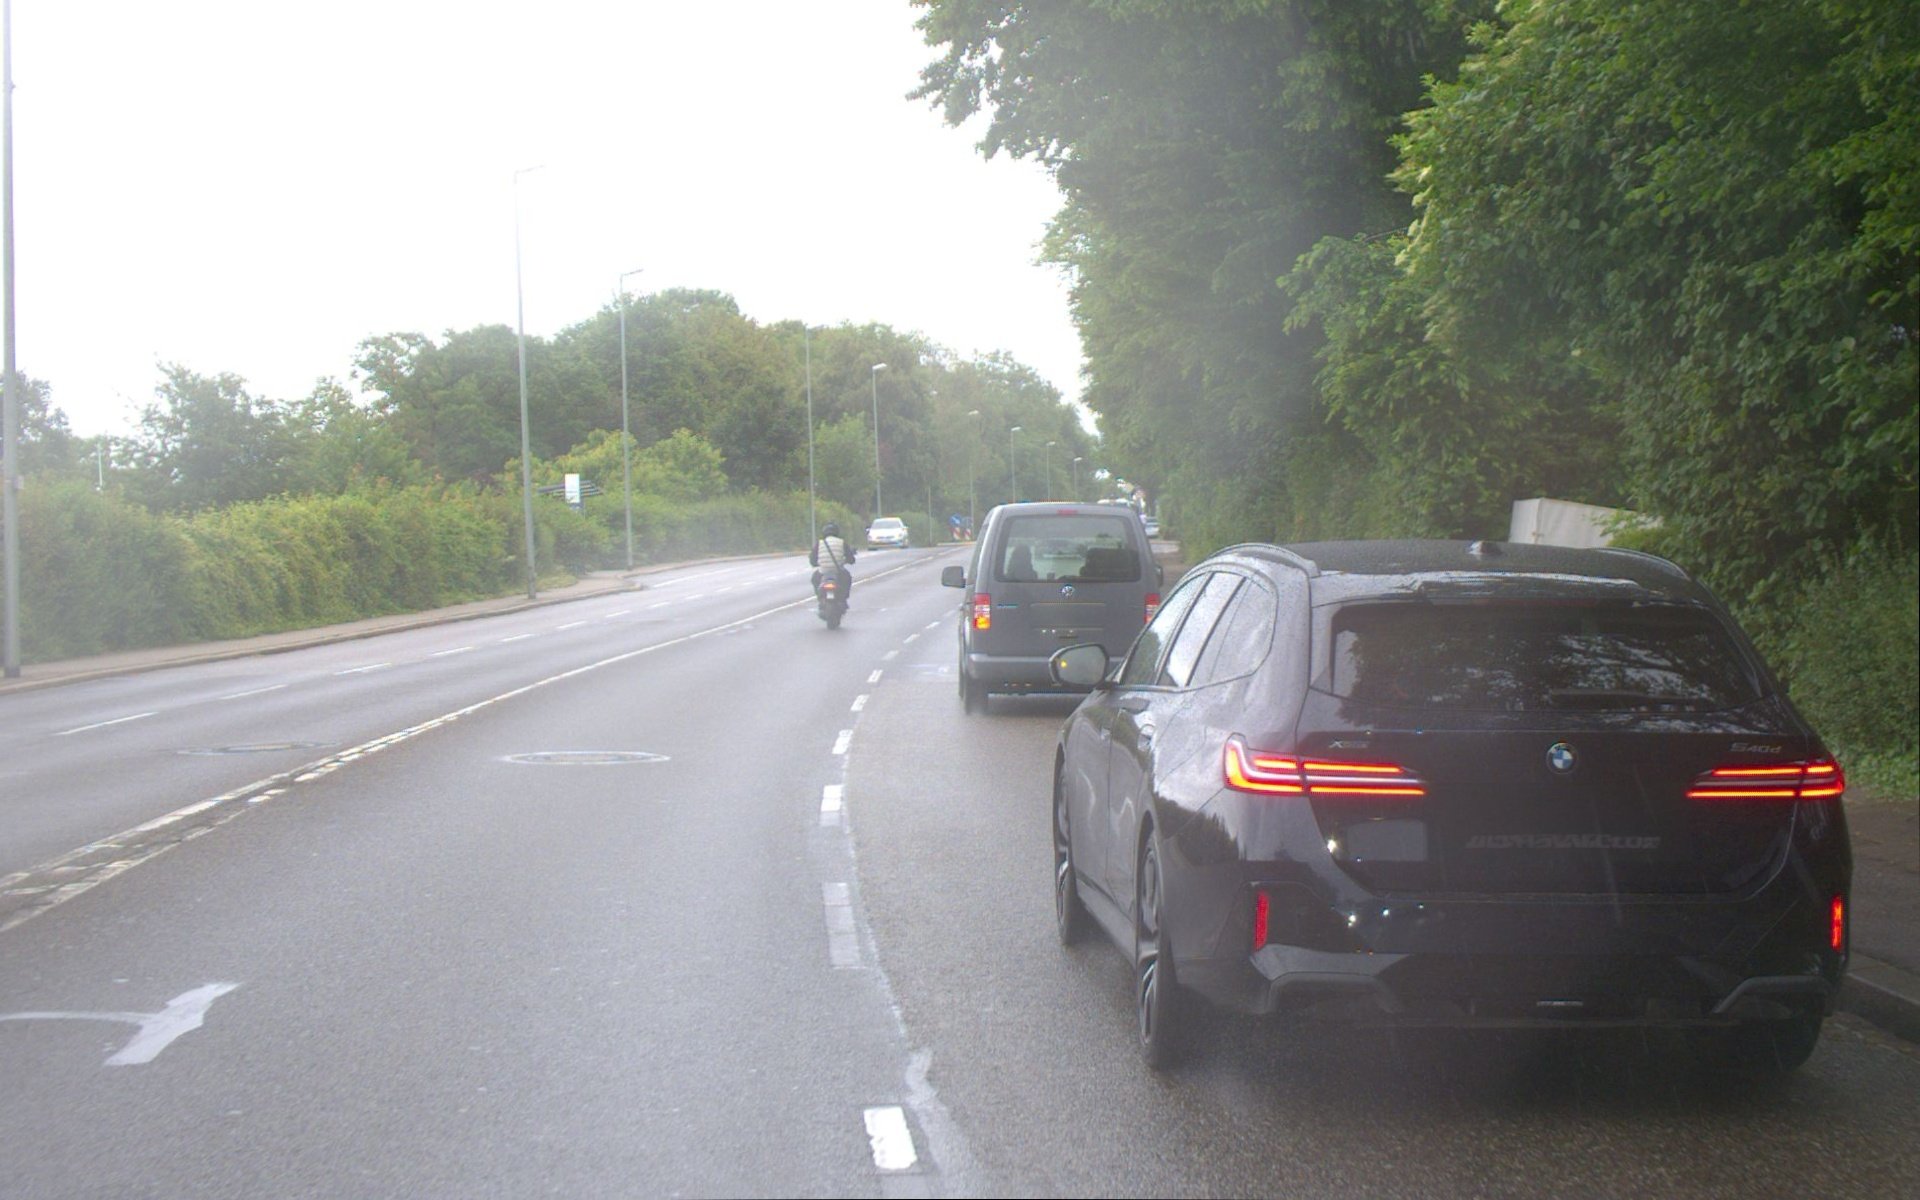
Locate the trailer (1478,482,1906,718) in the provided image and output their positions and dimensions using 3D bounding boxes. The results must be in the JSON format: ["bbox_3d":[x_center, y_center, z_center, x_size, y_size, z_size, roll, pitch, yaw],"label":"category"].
[{"bbox_3d":[6.448,-0.021,30.449,3.348,1.642,1.199,7,2,0],"label":"trailer"}]

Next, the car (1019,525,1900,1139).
[{"bbox_3d":[1.300,0.560,10.489,1.764,1.531,3.674,1,1,-6],"label":"car"}]

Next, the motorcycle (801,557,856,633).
[{"bbox_3d":[-2.042,-0.090,53.595,0.741,1.115,1.426,0,3,3],"label":"motorcycle"}]

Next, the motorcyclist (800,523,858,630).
[{"bbox_3d":[-2.038,-0.371,53.562,0.845,1.641,0.468,0,2,2],"label":"motorcyclist"}]

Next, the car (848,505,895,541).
[{"bbox_3d":[-4.280,-3.709,165.495,1.748,1.656,3.856,0,2,-9],"label":"car"}]

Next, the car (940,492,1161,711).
[{"bbox_3d":[0.749,-0.049,30.721,1.767,1.803,3.906,-1,2,-1],"label":"car"}]
